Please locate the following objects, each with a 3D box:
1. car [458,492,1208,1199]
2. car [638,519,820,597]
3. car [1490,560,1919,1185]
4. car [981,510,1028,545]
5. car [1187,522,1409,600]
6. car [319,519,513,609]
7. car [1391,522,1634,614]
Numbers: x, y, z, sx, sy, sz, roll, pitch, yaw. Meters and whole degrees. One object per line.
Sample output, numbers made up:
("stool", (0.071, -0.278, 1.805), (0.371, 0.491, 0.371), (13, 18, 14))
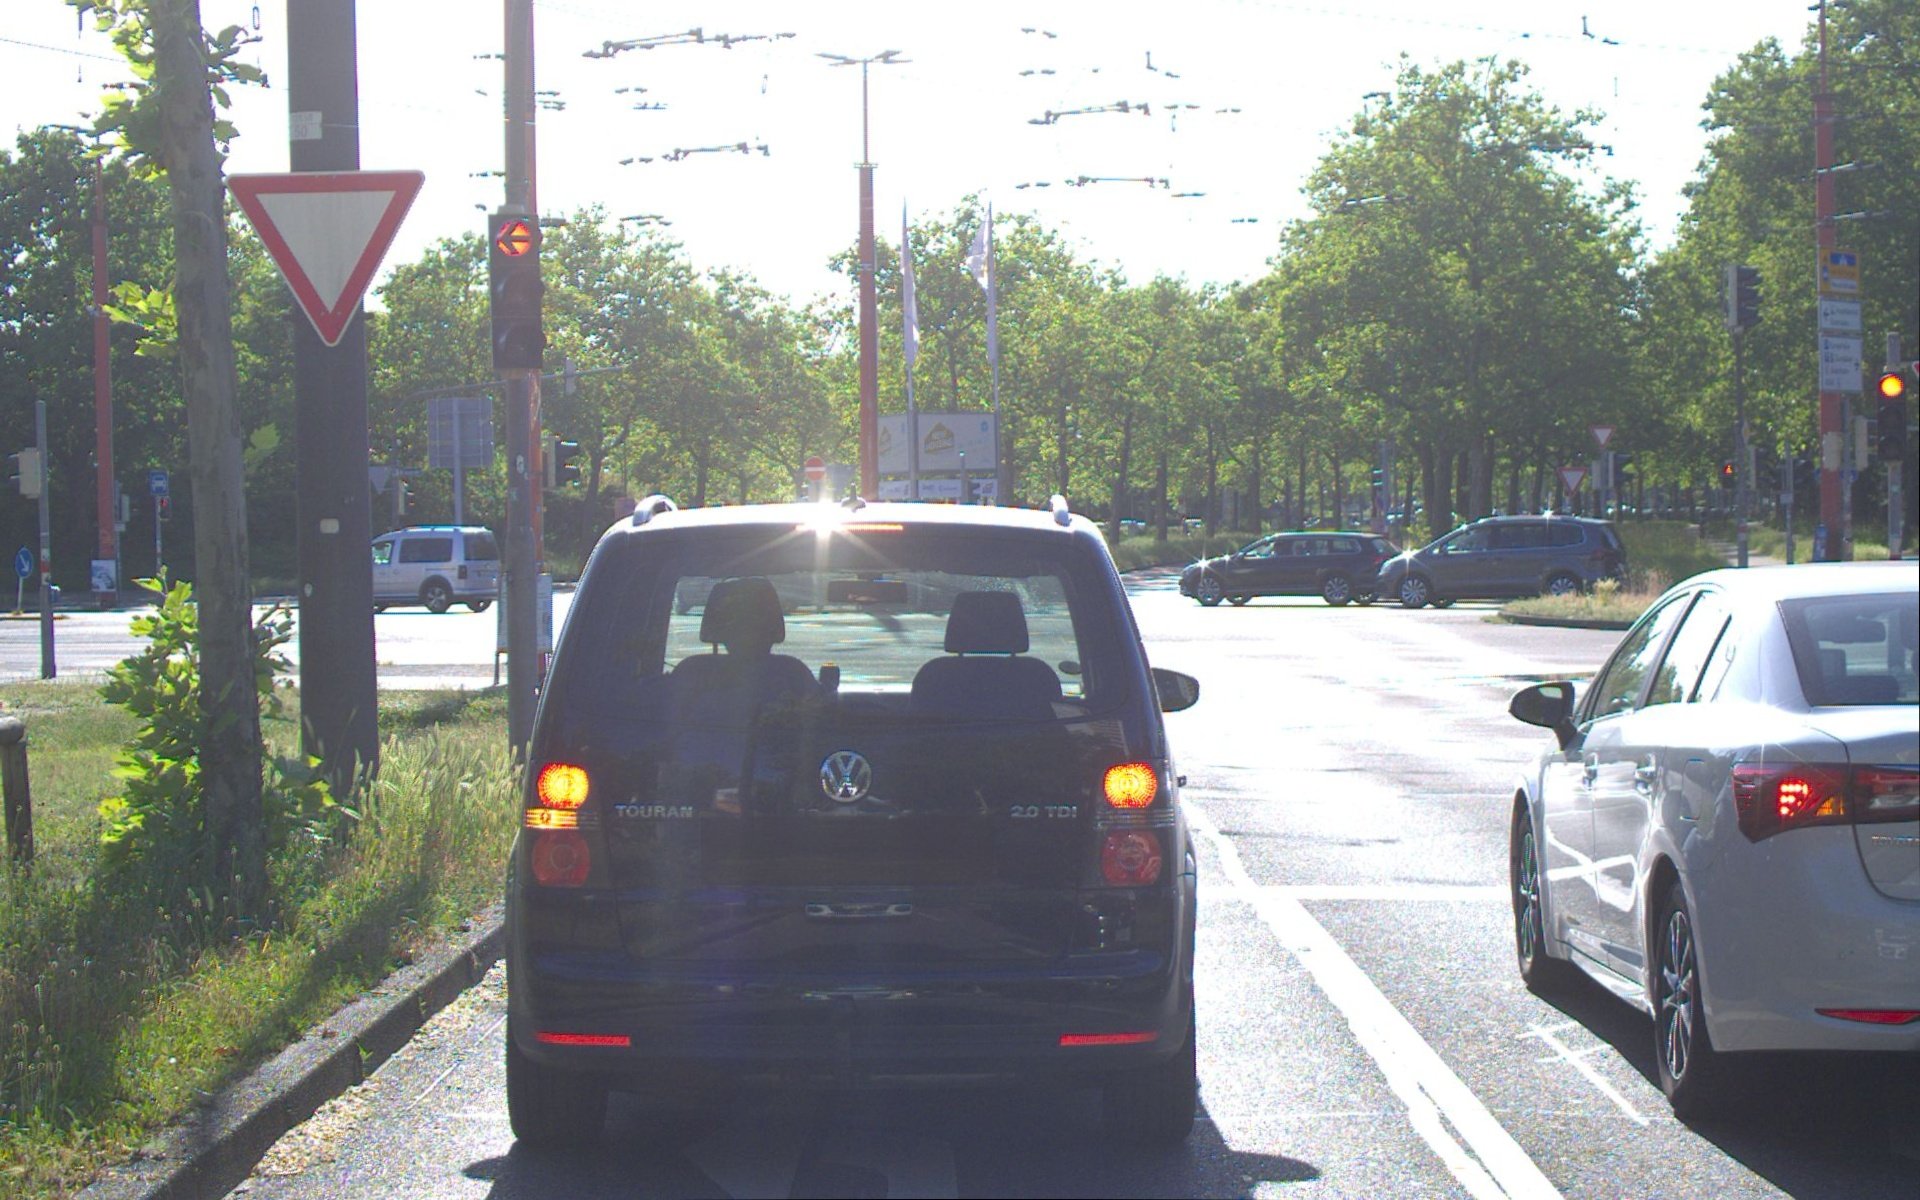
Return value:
("car", (-0.318, 0.533, 9.816), (1.700, 1.616, 3.897), (-1, 1, -1))
("car", (-5.131, -0.935, 76.315), (3.647, 1.650, 1.678), (1, 1, 25))
("car", (2.716, 0.618, 10.110), (1.720, 1.433, 4.198), (1, 1, 1))
("car", (2.223, -3.594, 171.088), (1.915, 1.630, 3.999), (1, 1, 7))
("car", (6.929, -0.805, 70.437), (4.127, 1.505, 1.820), (1, 1, 26))
("car", (-11.933, -0.798, 75.436), (3.837, 1.883, 1.762), (1, 1, 23))
("car", (10.456, -0.615, 65.069), (4.185, 1.638, 1.757), (1, 1, 27))
